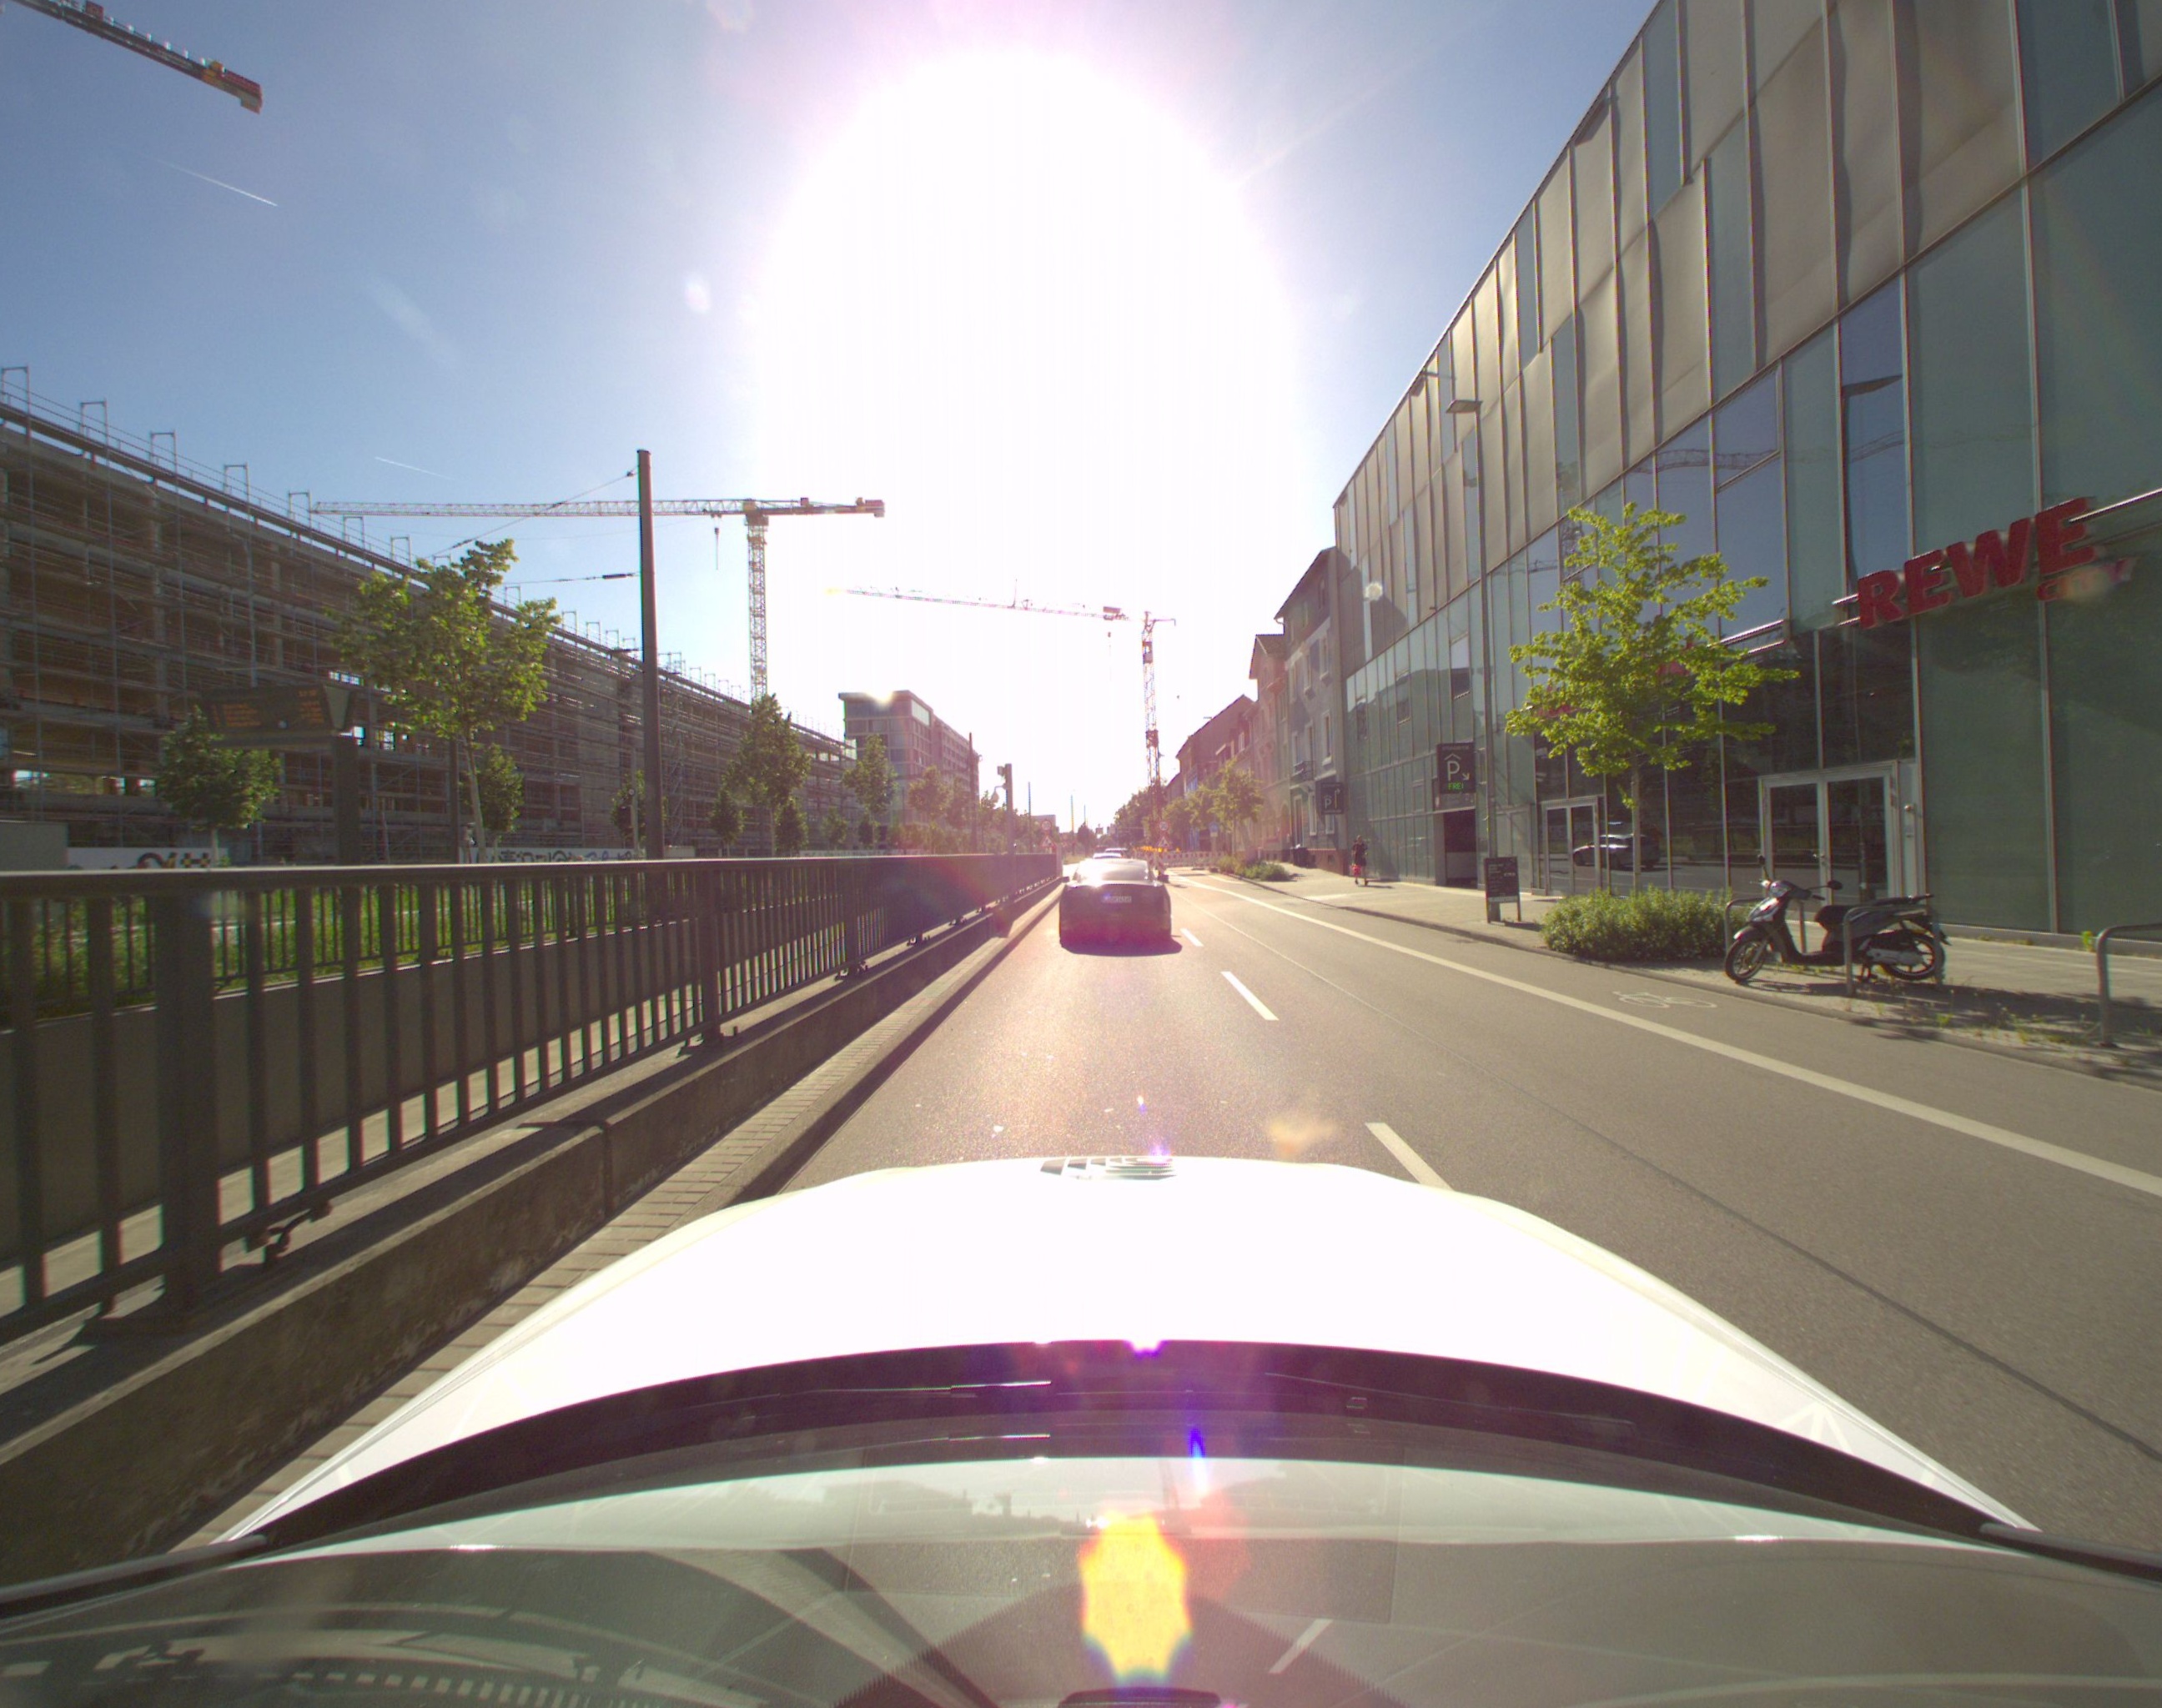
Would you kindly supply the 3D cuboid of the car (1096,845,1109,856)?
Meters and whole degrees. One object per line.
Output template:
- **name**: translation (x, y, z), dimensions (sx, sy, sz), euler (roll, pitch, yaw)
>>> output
- **car**: translation (3.552, -0.617, 133.116), dimensions (1.806, 1.809, 4.043), euler (-2, 1, 4)

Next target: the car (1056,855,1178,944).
- **car**: translation (0.649, 0.760, 15.733), dimensions (1.992, 1.434, 4.414), euler (-1, 0, 1)

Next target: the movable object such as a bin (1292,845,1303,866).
- **movable object such as a bin**: translation (12.186, 0.064, 45.847), dimensions (0.556, 1.169, 0.563), euler (0, 0, 6)

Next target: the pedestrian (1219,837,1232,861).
- **pedestrian**: translation (11.840, -0.399, 66.568), dimensions (0.848, 1.863, 0.930), euler (-2, 0, 1)

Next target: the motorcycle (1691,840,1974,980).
- **motorcycle**: translation (7.963, 0.612, 8.768), dimensions (2.054, 1.353, 0.656), euler (-5, -1, 25)

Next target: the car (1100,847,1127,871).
- **car**: translation (2.356, 0.317, 58.285), dimensions (1.777, 1.546, 4.043), euler (-2, 1, 4)

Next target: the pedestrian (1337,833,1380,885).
- **pedestrian**: translation (10.555, 0.187, 31.027), dimensions (1.091, 1.863, 1.523), euler (-2, 0, 1)

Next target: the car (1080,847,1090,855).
- **car**: translation (0.789, -0.637, 169.550), dimensions (1.986, 1.684, 4.001), euler (0, 0, 1)

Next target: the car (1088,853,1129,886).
- **car**: translation (1.277, 0.668, 36.581), dimensions (1.709, 1.319, 4.004), euler (-2, 1, 3)

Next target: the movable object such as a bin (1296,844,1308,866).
- **movable object such as a bin**: translation (12.233, 0.062, 44.996), dimensions (0.556, 1.169, 0.563), euler (0, 0, 6)
